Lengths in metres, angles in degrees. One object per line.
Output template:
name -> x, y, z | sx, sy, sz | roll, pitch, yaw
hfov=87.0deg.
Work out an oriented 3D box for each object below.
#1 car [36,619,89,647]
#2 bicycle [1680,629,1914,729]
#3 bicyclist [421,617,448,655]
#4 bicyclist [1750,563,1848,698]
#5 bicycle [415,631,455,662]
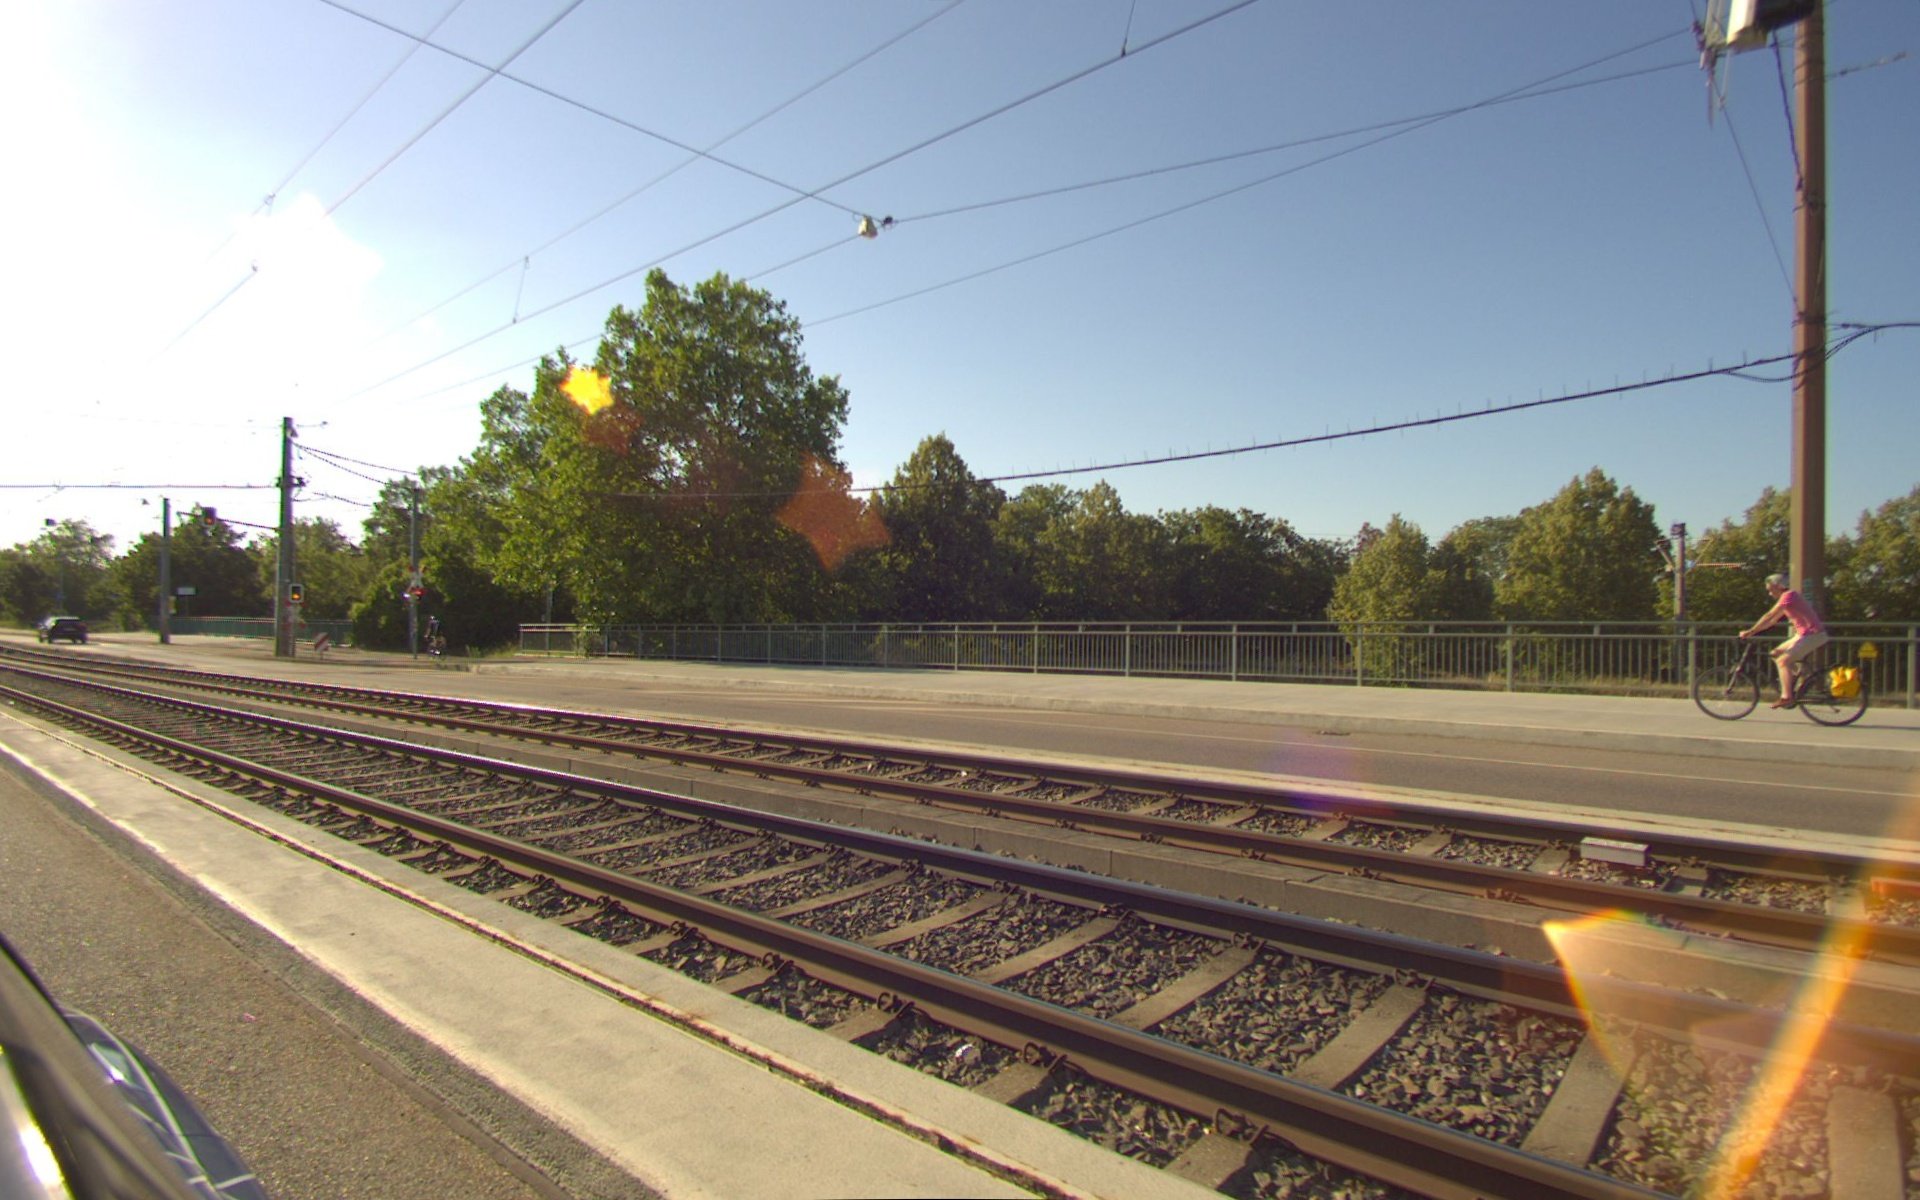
car -> -53.097, 1.930, 59.857 | 4.217, 1.513, 1.829 | 0, 0, 41
bicycle -> 10.604, 0.963, 12.920 | 2.258, 1.131, 0.618 | 0, 0, 41
bicyclist -> -20.662, 1.395, 39.765 | 0.968, 1.443, 0.619 | 0, 0, 40
bicyclist -> 10.662, 0.377, 12.874 | 0.935, 1.645, 0.619 | 0, 0, 41
bicycle -> -20.624, 1.806, 39.728 | 2.258, 1.131, 0.619 | 0, 0, 40
